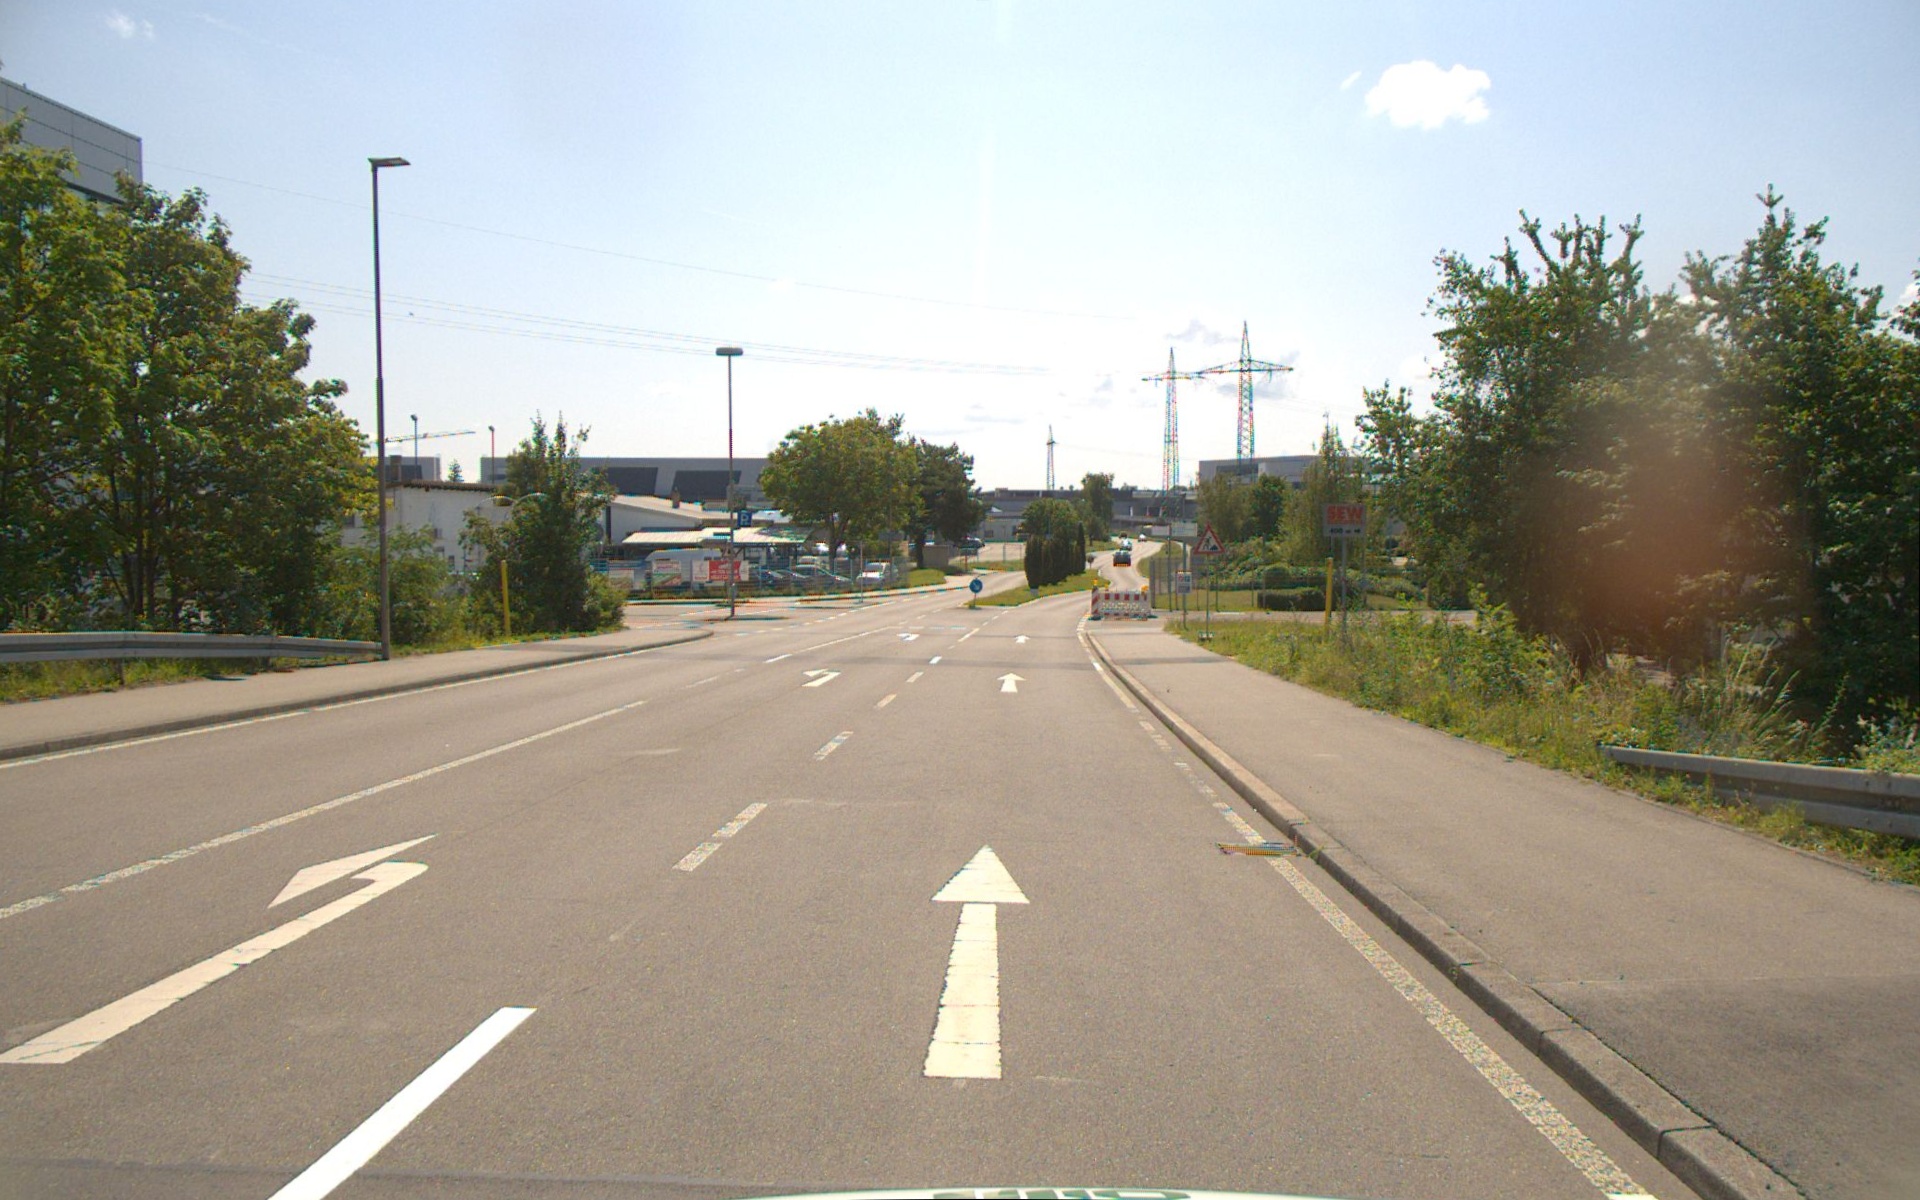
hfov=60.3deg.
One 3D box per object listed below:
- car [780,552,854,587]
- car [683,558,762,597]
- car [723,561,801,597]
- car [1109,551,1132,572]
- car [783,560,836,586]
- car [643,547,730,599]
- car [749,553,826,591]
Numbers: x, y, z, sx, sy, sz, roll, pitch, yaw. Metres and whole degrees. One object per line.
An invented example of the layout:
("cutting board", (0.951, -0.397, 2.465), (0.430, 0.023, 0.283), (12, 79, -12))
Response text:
("car", (-8.446, -1.803, 97.634), (3.907, 1.936, 1.999), (2, 3, 24))
("car", (-12.763, -1.217, 88.665), (3.919, 1.936, 1.994), (3, 3, 35))
("car", (-10.875, -1.156, 90.683), (3.919, 1.811, 1.994), (3, 3, 35))
("car", (16.450, -3.972, 169.845), (2.224, 1.979, 4.669), (3, 3, 5))
("car", (-11.357, -2.042, 124.912), (3.912, 1.882, 1.832), (0, 1, -8))
("car", (-14.331, -1.427, 86.736), (4.272, 2.654, 1.995), (1, 1, 32))
("car", (-9.685, -1.593, 92.723), (3.913, 1.936, 1.997), (2, 3, 30))
